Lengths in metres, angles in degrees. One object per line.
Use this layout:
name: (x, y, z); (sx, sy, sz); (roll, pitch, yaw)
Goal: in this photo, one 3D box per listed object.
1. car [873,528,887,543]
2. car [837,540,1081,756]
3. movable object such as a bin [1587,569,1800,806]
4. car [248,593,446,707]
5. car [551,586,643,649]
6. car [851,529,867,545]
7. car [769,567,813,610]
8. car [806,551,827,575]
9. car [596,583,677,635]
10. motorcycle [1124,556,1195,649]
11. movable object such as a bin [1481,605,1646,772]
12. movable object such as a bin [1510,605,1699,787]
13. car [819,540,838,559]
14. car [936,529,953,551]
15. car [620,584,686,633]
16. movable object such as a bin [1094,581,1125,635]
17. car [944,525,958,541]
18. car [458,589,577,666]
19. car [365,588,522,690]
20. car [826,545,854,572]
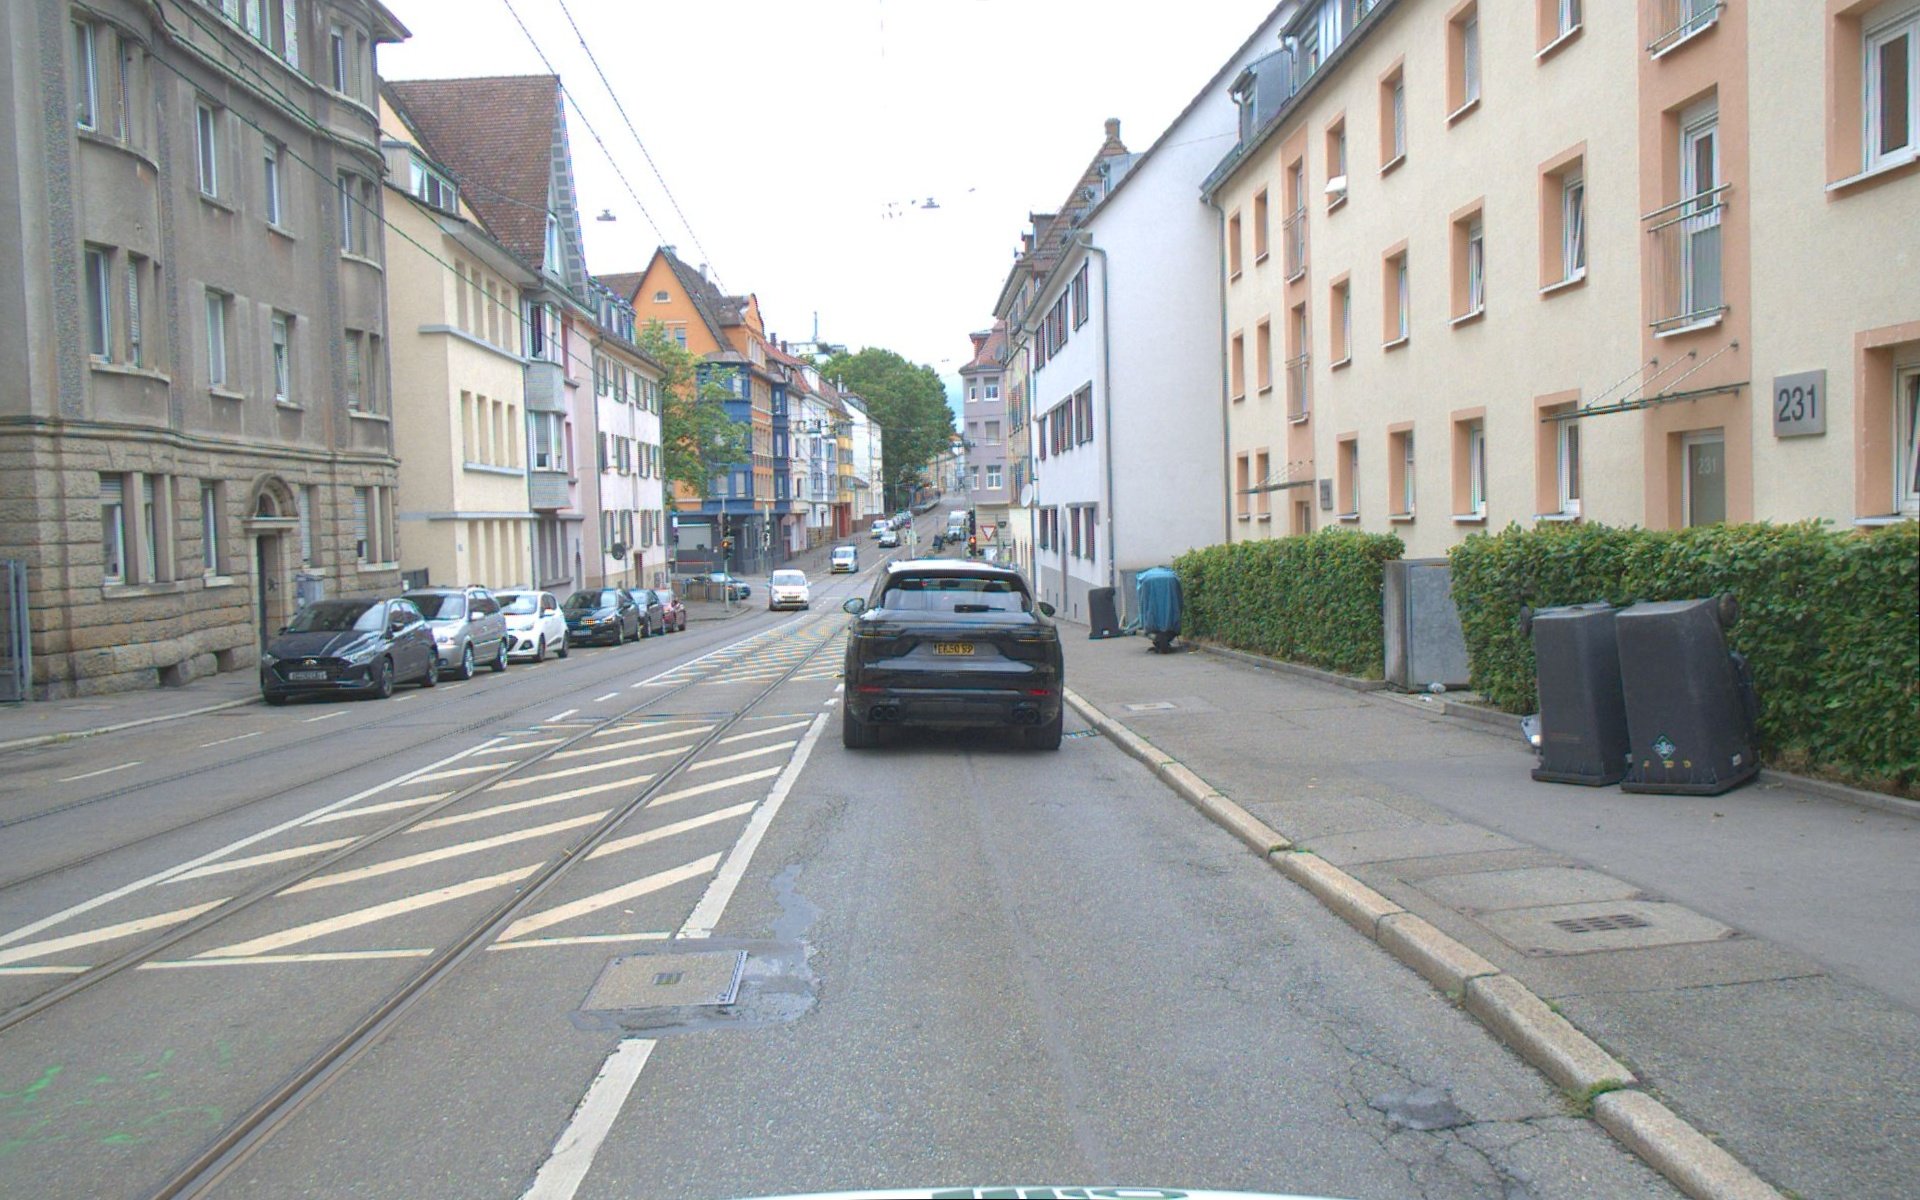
car: (-8.703, -7.017, 179.805); (1.366, 1.476, 3.358); (-2, 0, -1)
car: (-0.072, 0.378, 15.613); (1.953, 1.705, 3.998); (-2, 0, -2)
movable object such as a bin: (4.094, 0.466, 9.283); (0.776, 1.239, 0.788); (-2, 0, -6)
car: (-9.110, 0.700, 24.903); (1.588, 1.488, 4.030); (-3, 0, -3)
car: (-9.555, 0.463, 43.873); (1.588, 1.499, 4.553); (-3, 0, -3)
car: (-9.982, -6.192, 163.012); (1.366, 1.476, 3.358); (-2, 0, -1)
car: (-7.792, -0.523, 76.616); (1.884, 1.850, 4.213); (-2, 0, -5)
car: (-11.175, -2.878, 129.054); (1.366, 1.752, 3.358); (-2, 0, -1)
car: (-9.750, 0.246, 50.095); (1.701, 1.434, 3.999); (-2, 0, -2)
motorcycle: (3.367, 0.027, 28.173); (0.821, 1.482, 2.552); (-2, 0, -1)
movable object such as a bin: (3.963, 0.565, 10.920); (0.775, 1.029, 0.789); (-2, 0, 0)
movable object such as a bin: (3.911, 0.562, 10.082); (0.776, 1.029, 0.788); (-2, 0, -6)
car: (-11.249, -4.297, 141.919); (1.366, 1.476, 3.358); (-2, 0, -1)
car: (-1.315, -5.166, 142.523); (1.366, 1.752, 3.358); (-2, 0, -1)
car: (-10.236, 0.281, 55.367); (1.588, 1.516, 4.045); (-3, 0, -3)
movable object such as a bin: (3.166, 0.164, 35.033); (0.576, 1.098, 0.692); (-2, 0, 0)
car: (-0.887, -6.808, 168.324); (1.366, 1.476, 3.358); (-2, 0, -1)
car: (-9.474, 0.569, 35.640); (1.588, 1.488, 3.684); (-3, 0, -1)
car: (-9.190, 0.660, 29.754); (1.588, 1.632, 4.348); (-3, 0, -3)
car: (-8.679, -2.998, 120.080); (1.715, 1.790, 4.253); (-2, 0, -1)
